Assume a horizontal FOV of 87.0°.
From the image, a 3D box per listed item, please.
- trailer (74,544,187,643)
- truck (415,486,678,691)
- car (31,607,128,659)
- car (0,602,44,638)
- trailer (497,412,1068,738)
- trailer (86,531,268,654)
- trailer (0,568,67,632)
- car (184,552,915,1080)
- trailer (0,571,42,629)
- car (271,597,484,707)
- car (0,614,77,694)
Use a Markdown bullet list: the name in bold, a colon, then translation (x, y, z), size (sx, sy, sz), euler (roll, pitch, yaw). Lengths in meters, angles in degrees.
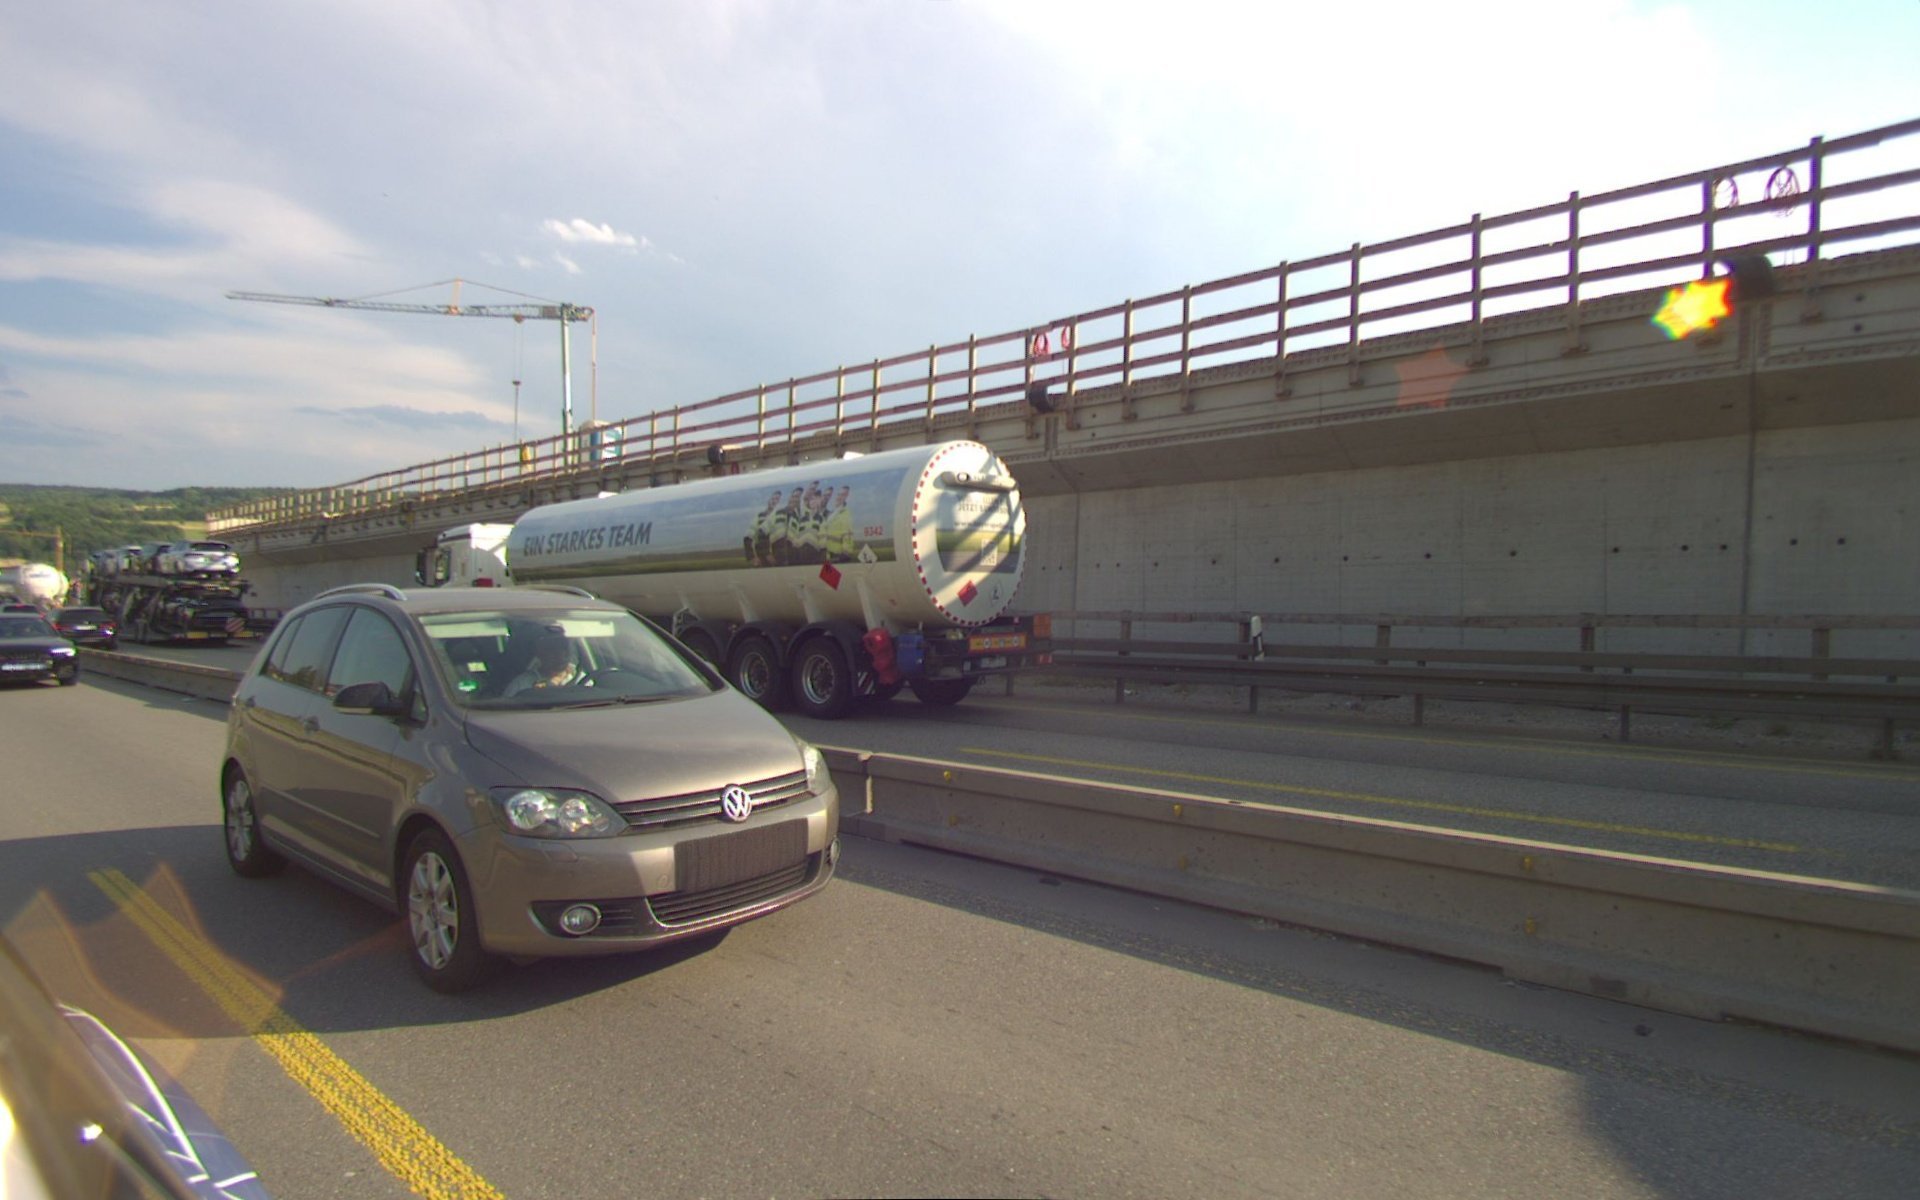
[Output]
- **trailer**: translation (-36.670, -0.276, 44.660), size (7.205, 4.061, 2.742), euler (0, 0, 41)
- **truck**: translation (-8.175, -0.214, 19.726), size (5.528, 3.435, 2.522), euler (0, 0, 41)
- **car**: translation (-29.408, 1.059, 33.759), size (4.833, 1.563, 1.747), euler (0, 1, 41)
- **car**: translation (-43.900, 0.897, 46.865), size (4.337, 1.589, 1.738), euler (0, 1, 41)
- **trailer**: translation (-3.443, -0.291, 15.527), size (10.677, 3.553, 2.530), euler (0, 0, 41)
- **trailer**: translation (-31.086, -0.268, 39.706), size (15.757, 4.061, 2.742), euler (0, 0, 42)
- **trailer**: translation (-62.051, -0.010, 66.943), size (13.435, 3.879, 2.625), euler (0, 0, 41)
- **car**: translation (-2.347, 0.643, 5.108), size (4.269, 1.600, 1.663), euler (1, 0, 41)
- **trailer**: translation (-66.777, -0.016, 71.056), size (6.425, 3.879, 2.625), euler (0, 0, 41)
- **car**: translation (-9.677, 0.780, 16.672), size (4.294, 1.569, 1.708), euler (-1, 0, 41)
- **car**: translation (-19.152, 1.021, 20.103), size (4.347, 1.430, 1.849), euler (0, 0, 41)
